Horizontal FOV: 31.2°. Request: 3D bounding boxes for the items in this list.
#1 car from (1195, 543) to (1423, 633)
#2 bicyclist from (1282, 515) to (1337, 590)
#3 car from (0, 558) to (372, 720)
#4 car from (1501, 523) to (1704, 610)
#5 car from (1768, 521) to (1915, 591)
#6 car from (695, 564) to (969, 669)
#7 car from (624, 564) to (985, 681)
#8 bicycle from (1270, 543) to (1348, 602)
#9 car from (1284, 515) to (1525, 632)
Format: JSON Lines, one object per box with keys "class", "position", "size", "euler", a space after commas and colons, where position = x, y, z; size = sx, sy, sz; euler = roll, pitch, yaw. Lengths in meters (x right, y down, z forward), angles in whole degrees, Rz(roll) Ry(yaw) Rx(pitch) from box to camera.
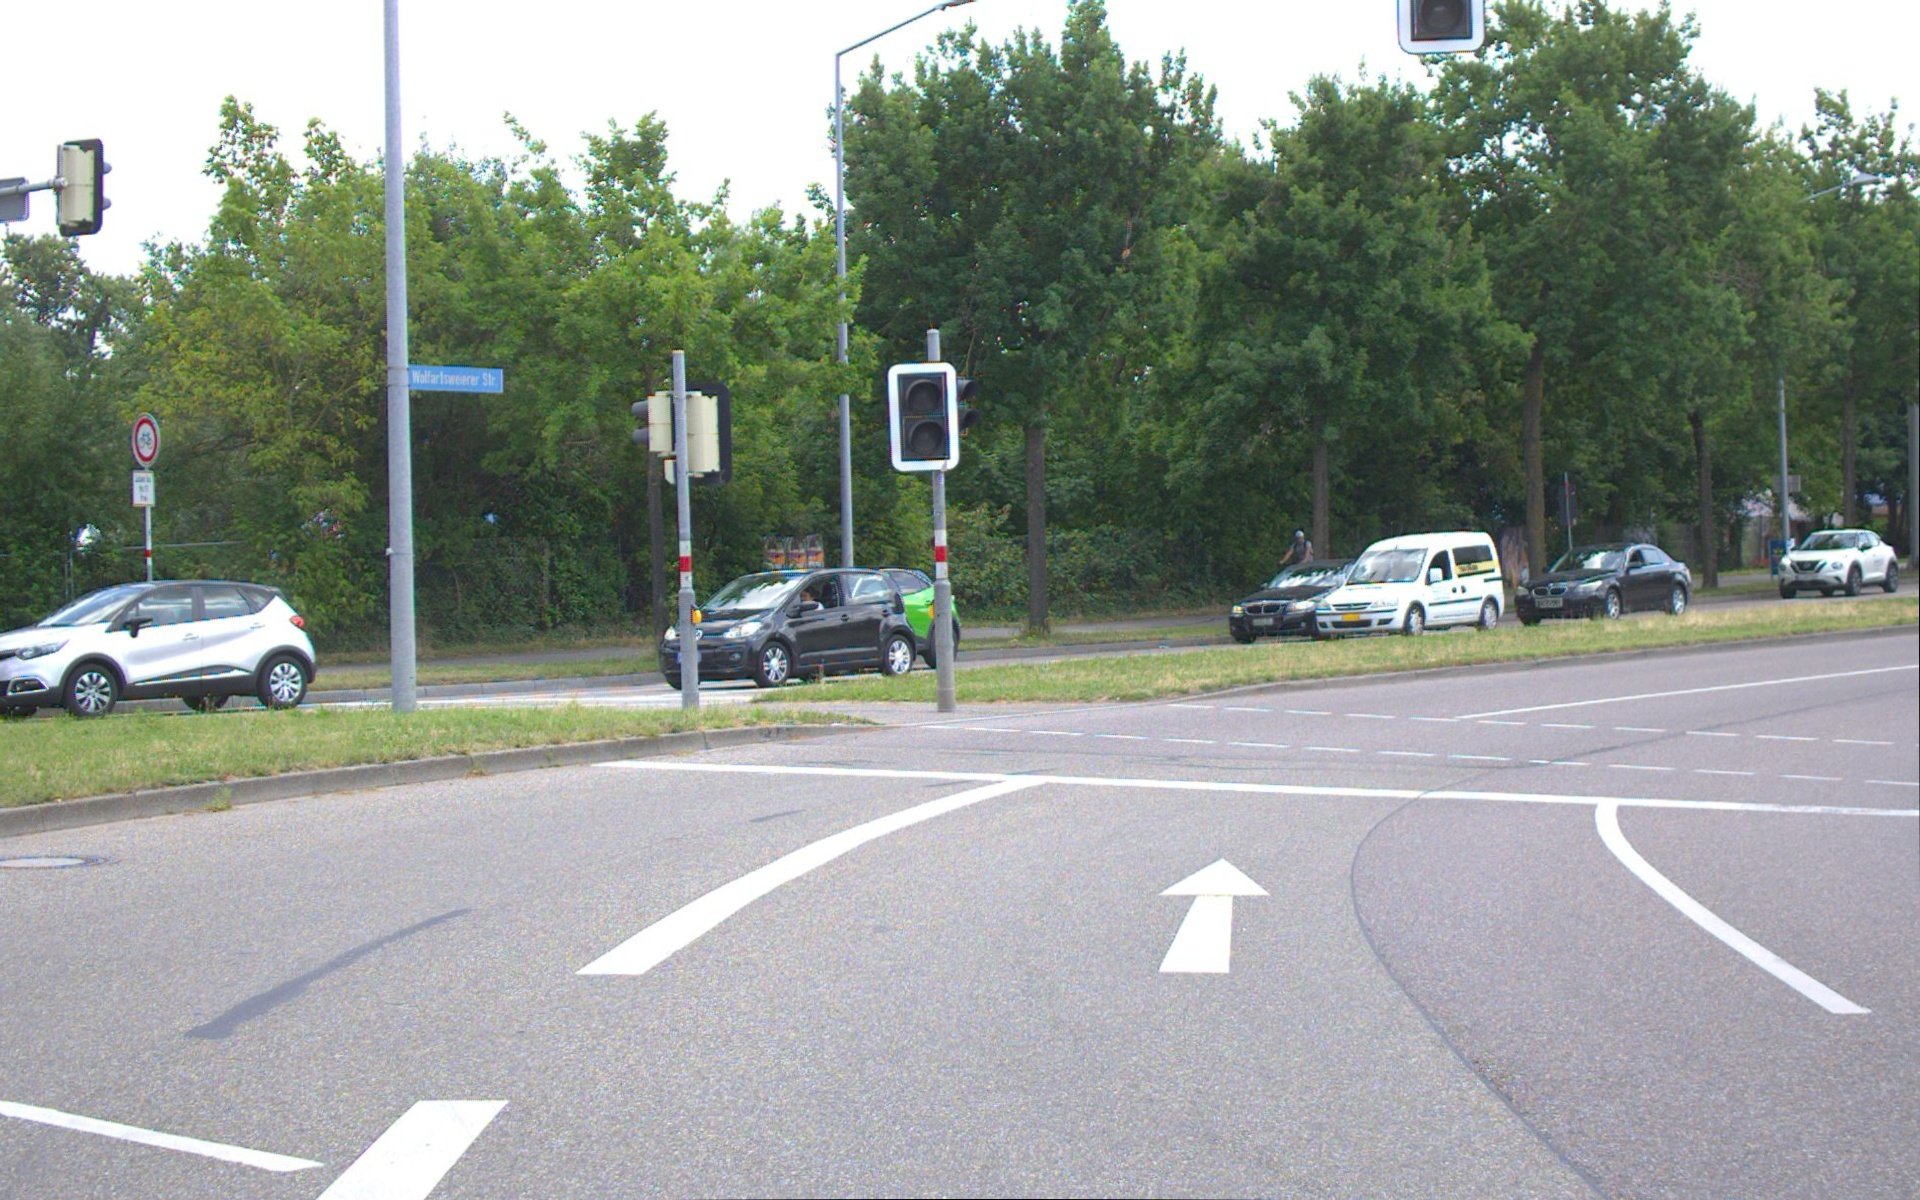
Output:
{"class": "car", "position": [6.201, -0.220, 60.703], "size": [1.842, 1.438, 4.409], "euler": [-2, 0, 39]}
{"class": "bicyclist", "position": [7.506, -1.027, 73.838], "size": [0.831, 1.559, 0.882], "euler": [2, 2, 35]}
{"class": "car", "position": [-9.317, 0.397, 39.591], "size": [1.998, 1.681, 4.776], "euler": [0, 2, 42]}
{"class": "car", "position": [11.974, -0.641, 63.833], "size": [1.841, 1.475, 4.744], "euler": [-2, 0, 35]}
{"class": "car", "position": [20.874, -1.052, 81.306], "size": [1.914, 1.535, 4.360], "euler": [-1, 1, 35]}
{"class": "car", "position": [-1.771, 0.216, 48.762], "size": [1.619, 1.343, 4.162], "euler": [-2, 0, 36]}
{"class": "car", "position": [-1.894, 0.262, 43.410], "size": [1.842, 1.306, 4.777], "euler": [-2, 0, 38]}
{"class": "bicycle", "position": [7.511, -0.600, 73.873], "size": [0.762, 1.215, 2.012], "euler": [2, 3, 35]}
{"class": "car", "position": [7.418, -0.460, 56.959], "size": [1.841, 1.793, 4.778], "euler": [-2, 0, 36]}
